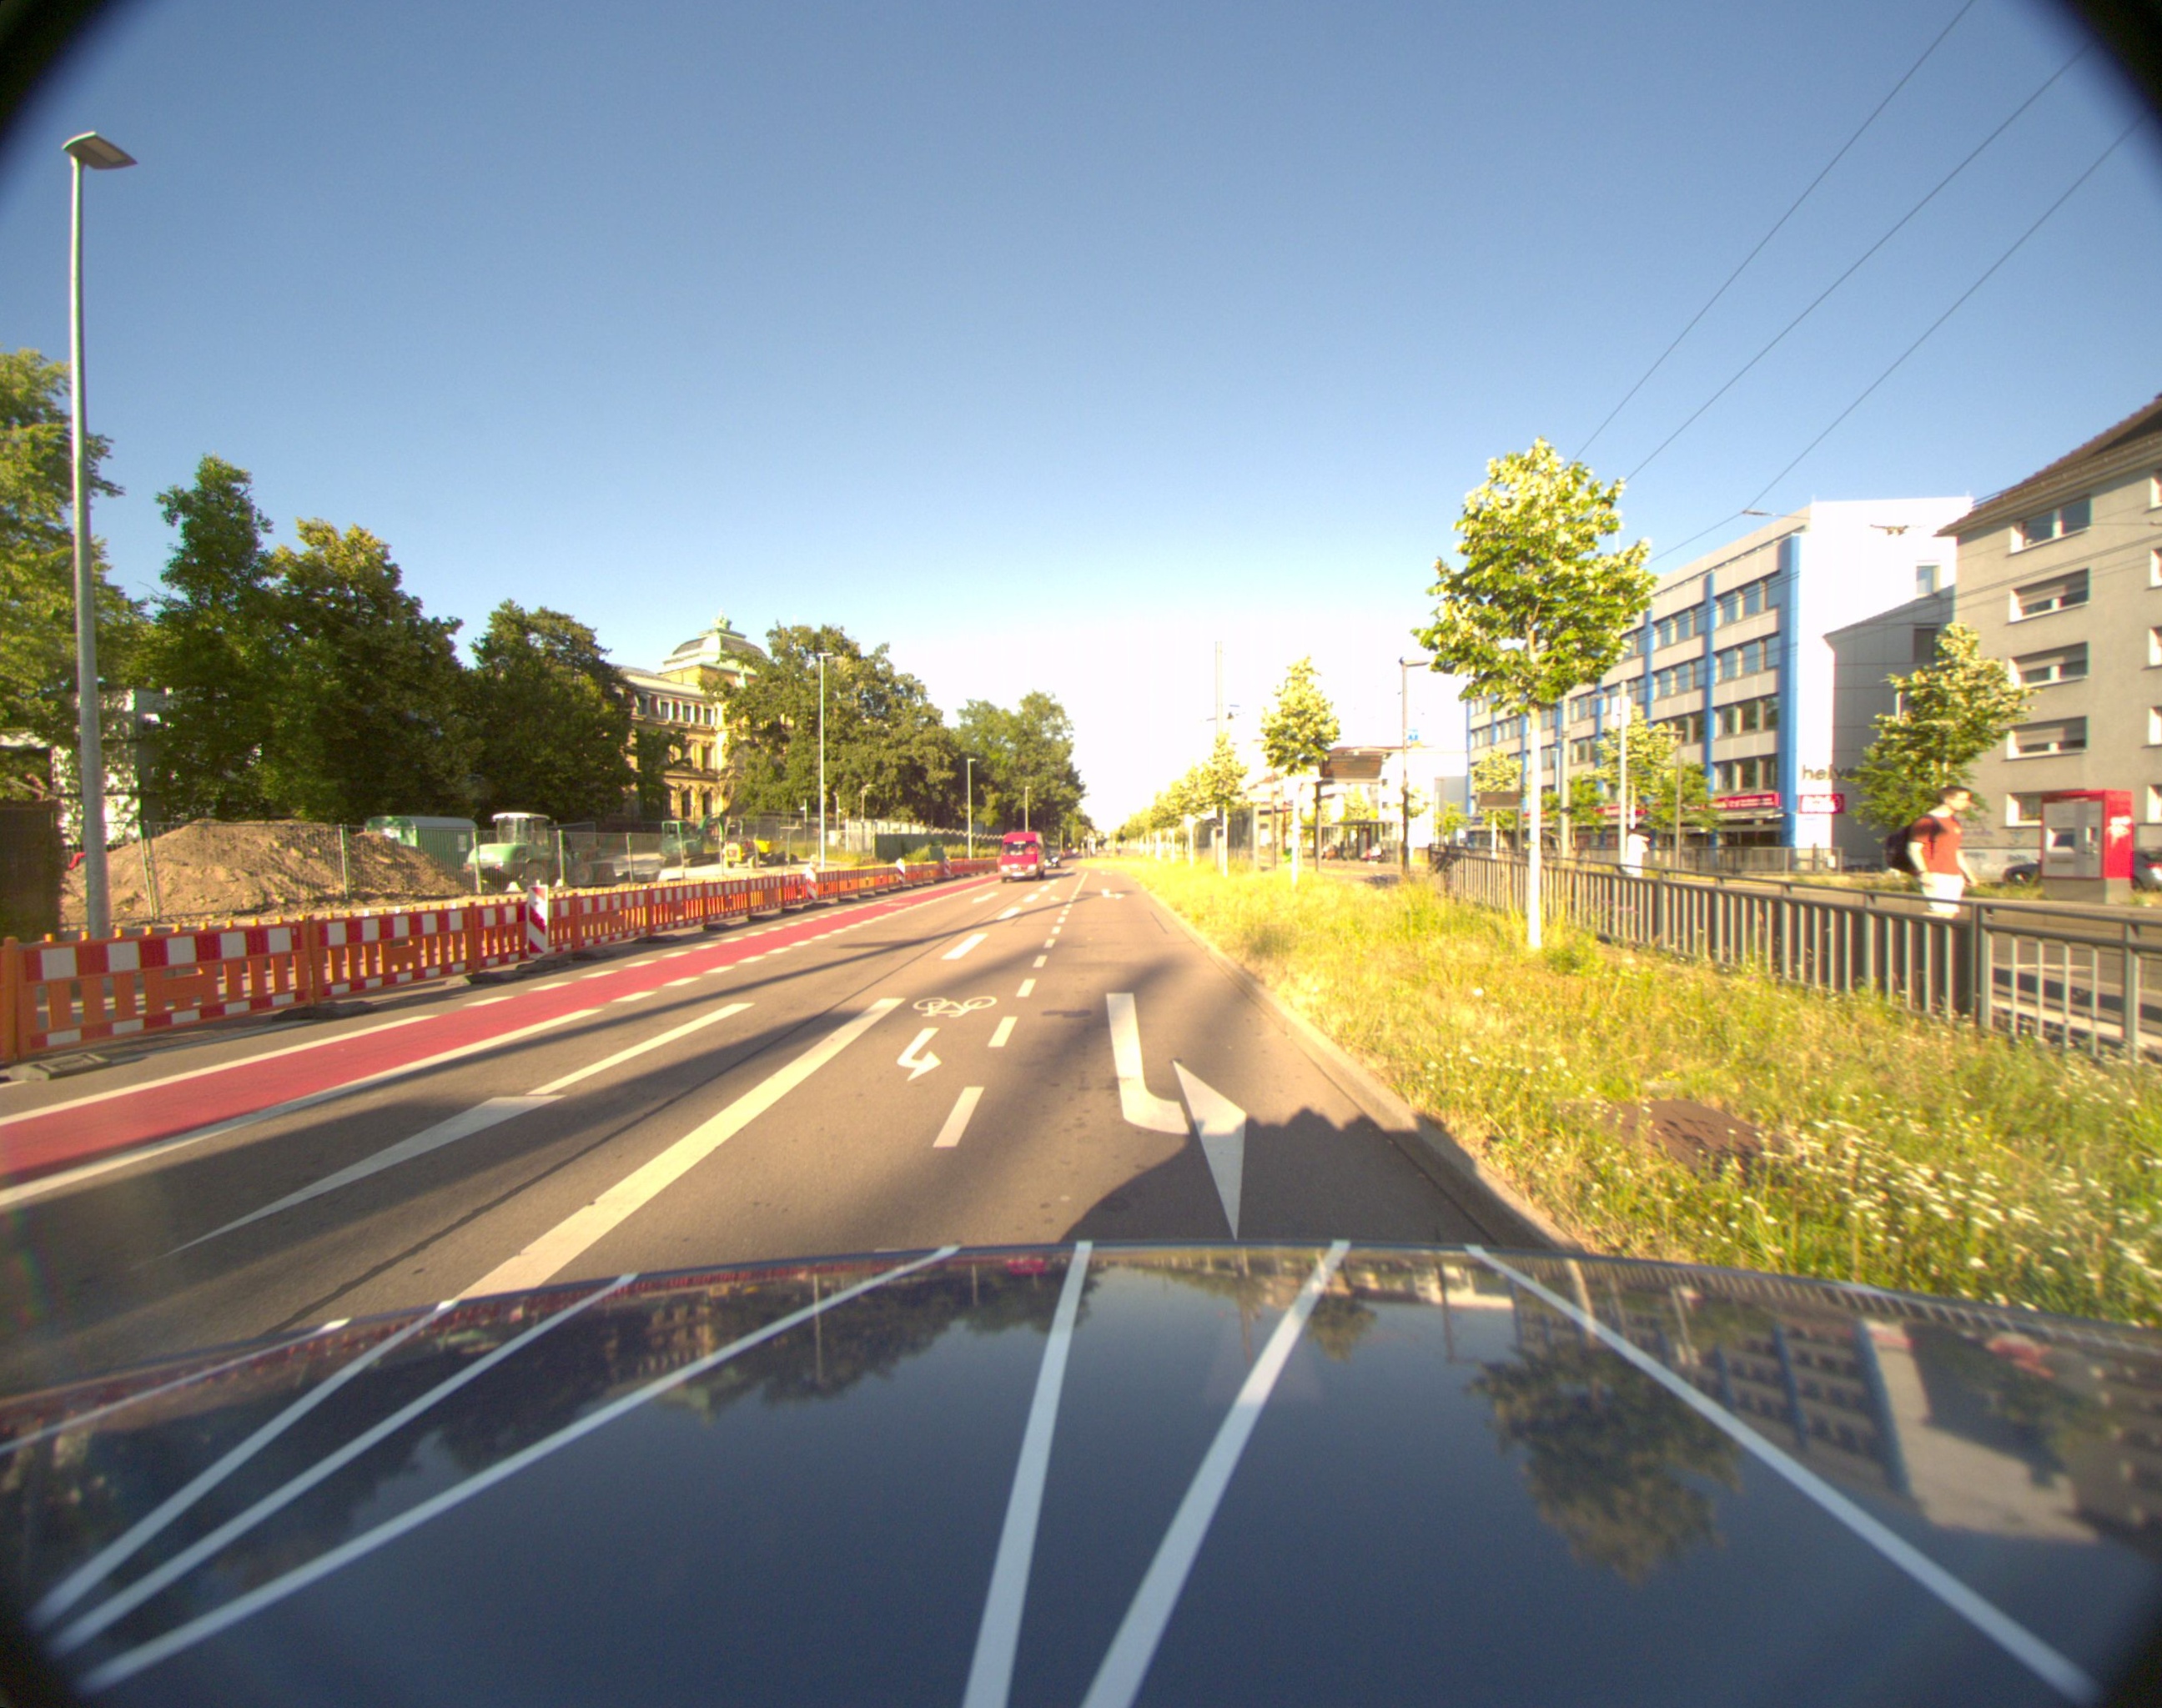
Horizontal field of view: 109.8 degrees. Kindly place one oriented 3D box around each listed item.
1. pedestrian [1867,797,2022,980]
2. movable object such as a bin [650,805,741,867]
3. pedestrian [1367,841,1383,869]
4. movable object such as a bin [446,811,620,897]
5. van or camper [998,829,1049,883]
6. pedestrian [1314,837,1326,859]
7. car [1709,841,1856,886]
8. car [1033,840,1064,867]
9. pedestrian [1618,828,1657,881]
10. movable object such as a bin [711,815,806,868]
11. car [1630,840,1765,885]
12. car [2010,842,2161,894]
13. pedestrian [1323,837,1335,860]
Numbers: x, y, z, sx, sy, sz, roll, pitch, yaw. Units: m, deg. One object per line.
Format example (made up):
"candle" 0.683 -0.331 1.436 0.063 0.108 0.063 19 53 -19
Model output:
"pedestrian" 8.418 0.325 7.434 0.787 1.689 0.619 -2 2 4
"movable object such as a bin" -22.316 -1.061 44.273 1.998 3.311 5.376 -2 1 6
"pedestrian" 18.360 0.055 47.523 0.660 1.683 0.772 -2 2 -1
"movable object such as a bin" -18.965 -0.058 26.688 1.998 2.668 5.014 -2 1 6
"van or camper" -2.867 0.027 39.435 1.998 2.514 5.913 -2 1 1
"pedestrian" 18.802 -0.472 59.744 0.659 1.683 0.772 -2 2 4
"car" 26.200 0.287 28.580 1.886 1.499 3.942 -2 1 1
"car" -2.649 -0.057 61.106 2.000 2.002 3.996 -2 1 -8
"pedestrian" 17.973 0.016 24.556 0.787 1.663 0.619 -2 2 4
"movable object such as a bin" -18.536 -0.724 44.034 1.997 2.800 5.870 -2 1 11
"car" 22.902 0.258 28.443 1.886 1.499 3.942 -2 1 1
"car" 33.271 0.390 24.624 1.886 1.499 3.673 -2 1 1
"pedestrian" 18.764 -0.426 57.438 0.659 1.683 0.772 -2 2 7
